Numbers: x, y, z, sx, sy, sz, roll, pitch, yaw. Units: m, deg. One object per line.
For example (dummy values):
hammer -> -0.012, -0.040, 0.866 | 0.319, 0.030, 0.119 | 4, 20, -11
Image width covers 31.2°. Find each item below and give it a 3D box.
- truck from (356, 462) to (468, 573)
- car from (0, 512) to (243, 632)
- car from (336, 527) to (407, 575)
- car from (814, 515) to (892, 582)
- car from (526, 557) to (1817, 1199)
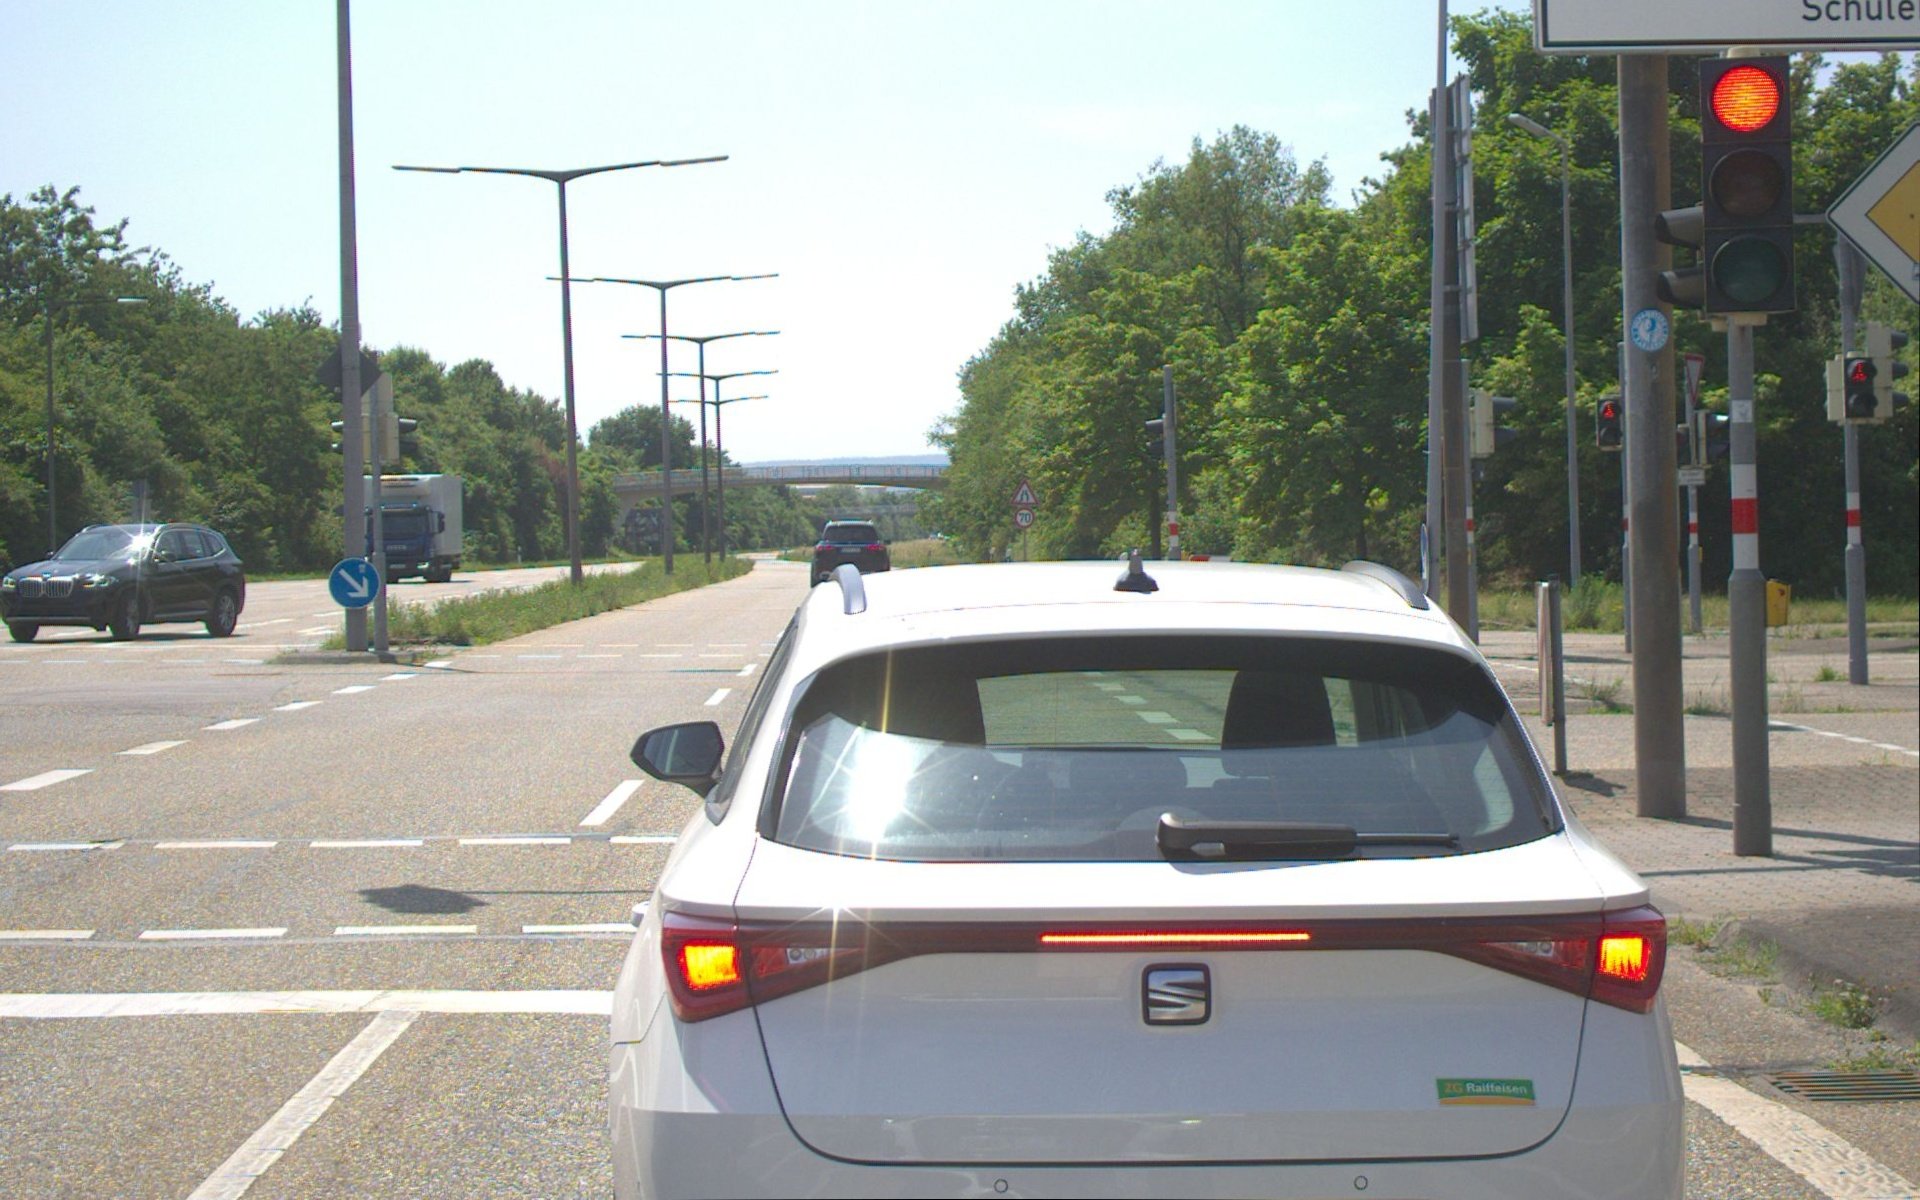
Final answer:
truck -> -18.216, -2.762, 114.711 | 2.687, 3.558, 7.268 | 0, 1, -1
car -> -12.237, -0.437, 50.266 | 1.708, 1.657, 4.220 | -1, 1, 15
car -> -21.761, -1.835, 127.284 | 1.822, 1.726, 4.926 | -1, 1, -1
car -> -2.794, -1.371, 90.597 | 1.855, 1.703, 4.000 | -1, 1, 1
car -> 0.261, 0.648, 6.495 | 1.734, 1.423, 3.695 | 1, 1, -1
